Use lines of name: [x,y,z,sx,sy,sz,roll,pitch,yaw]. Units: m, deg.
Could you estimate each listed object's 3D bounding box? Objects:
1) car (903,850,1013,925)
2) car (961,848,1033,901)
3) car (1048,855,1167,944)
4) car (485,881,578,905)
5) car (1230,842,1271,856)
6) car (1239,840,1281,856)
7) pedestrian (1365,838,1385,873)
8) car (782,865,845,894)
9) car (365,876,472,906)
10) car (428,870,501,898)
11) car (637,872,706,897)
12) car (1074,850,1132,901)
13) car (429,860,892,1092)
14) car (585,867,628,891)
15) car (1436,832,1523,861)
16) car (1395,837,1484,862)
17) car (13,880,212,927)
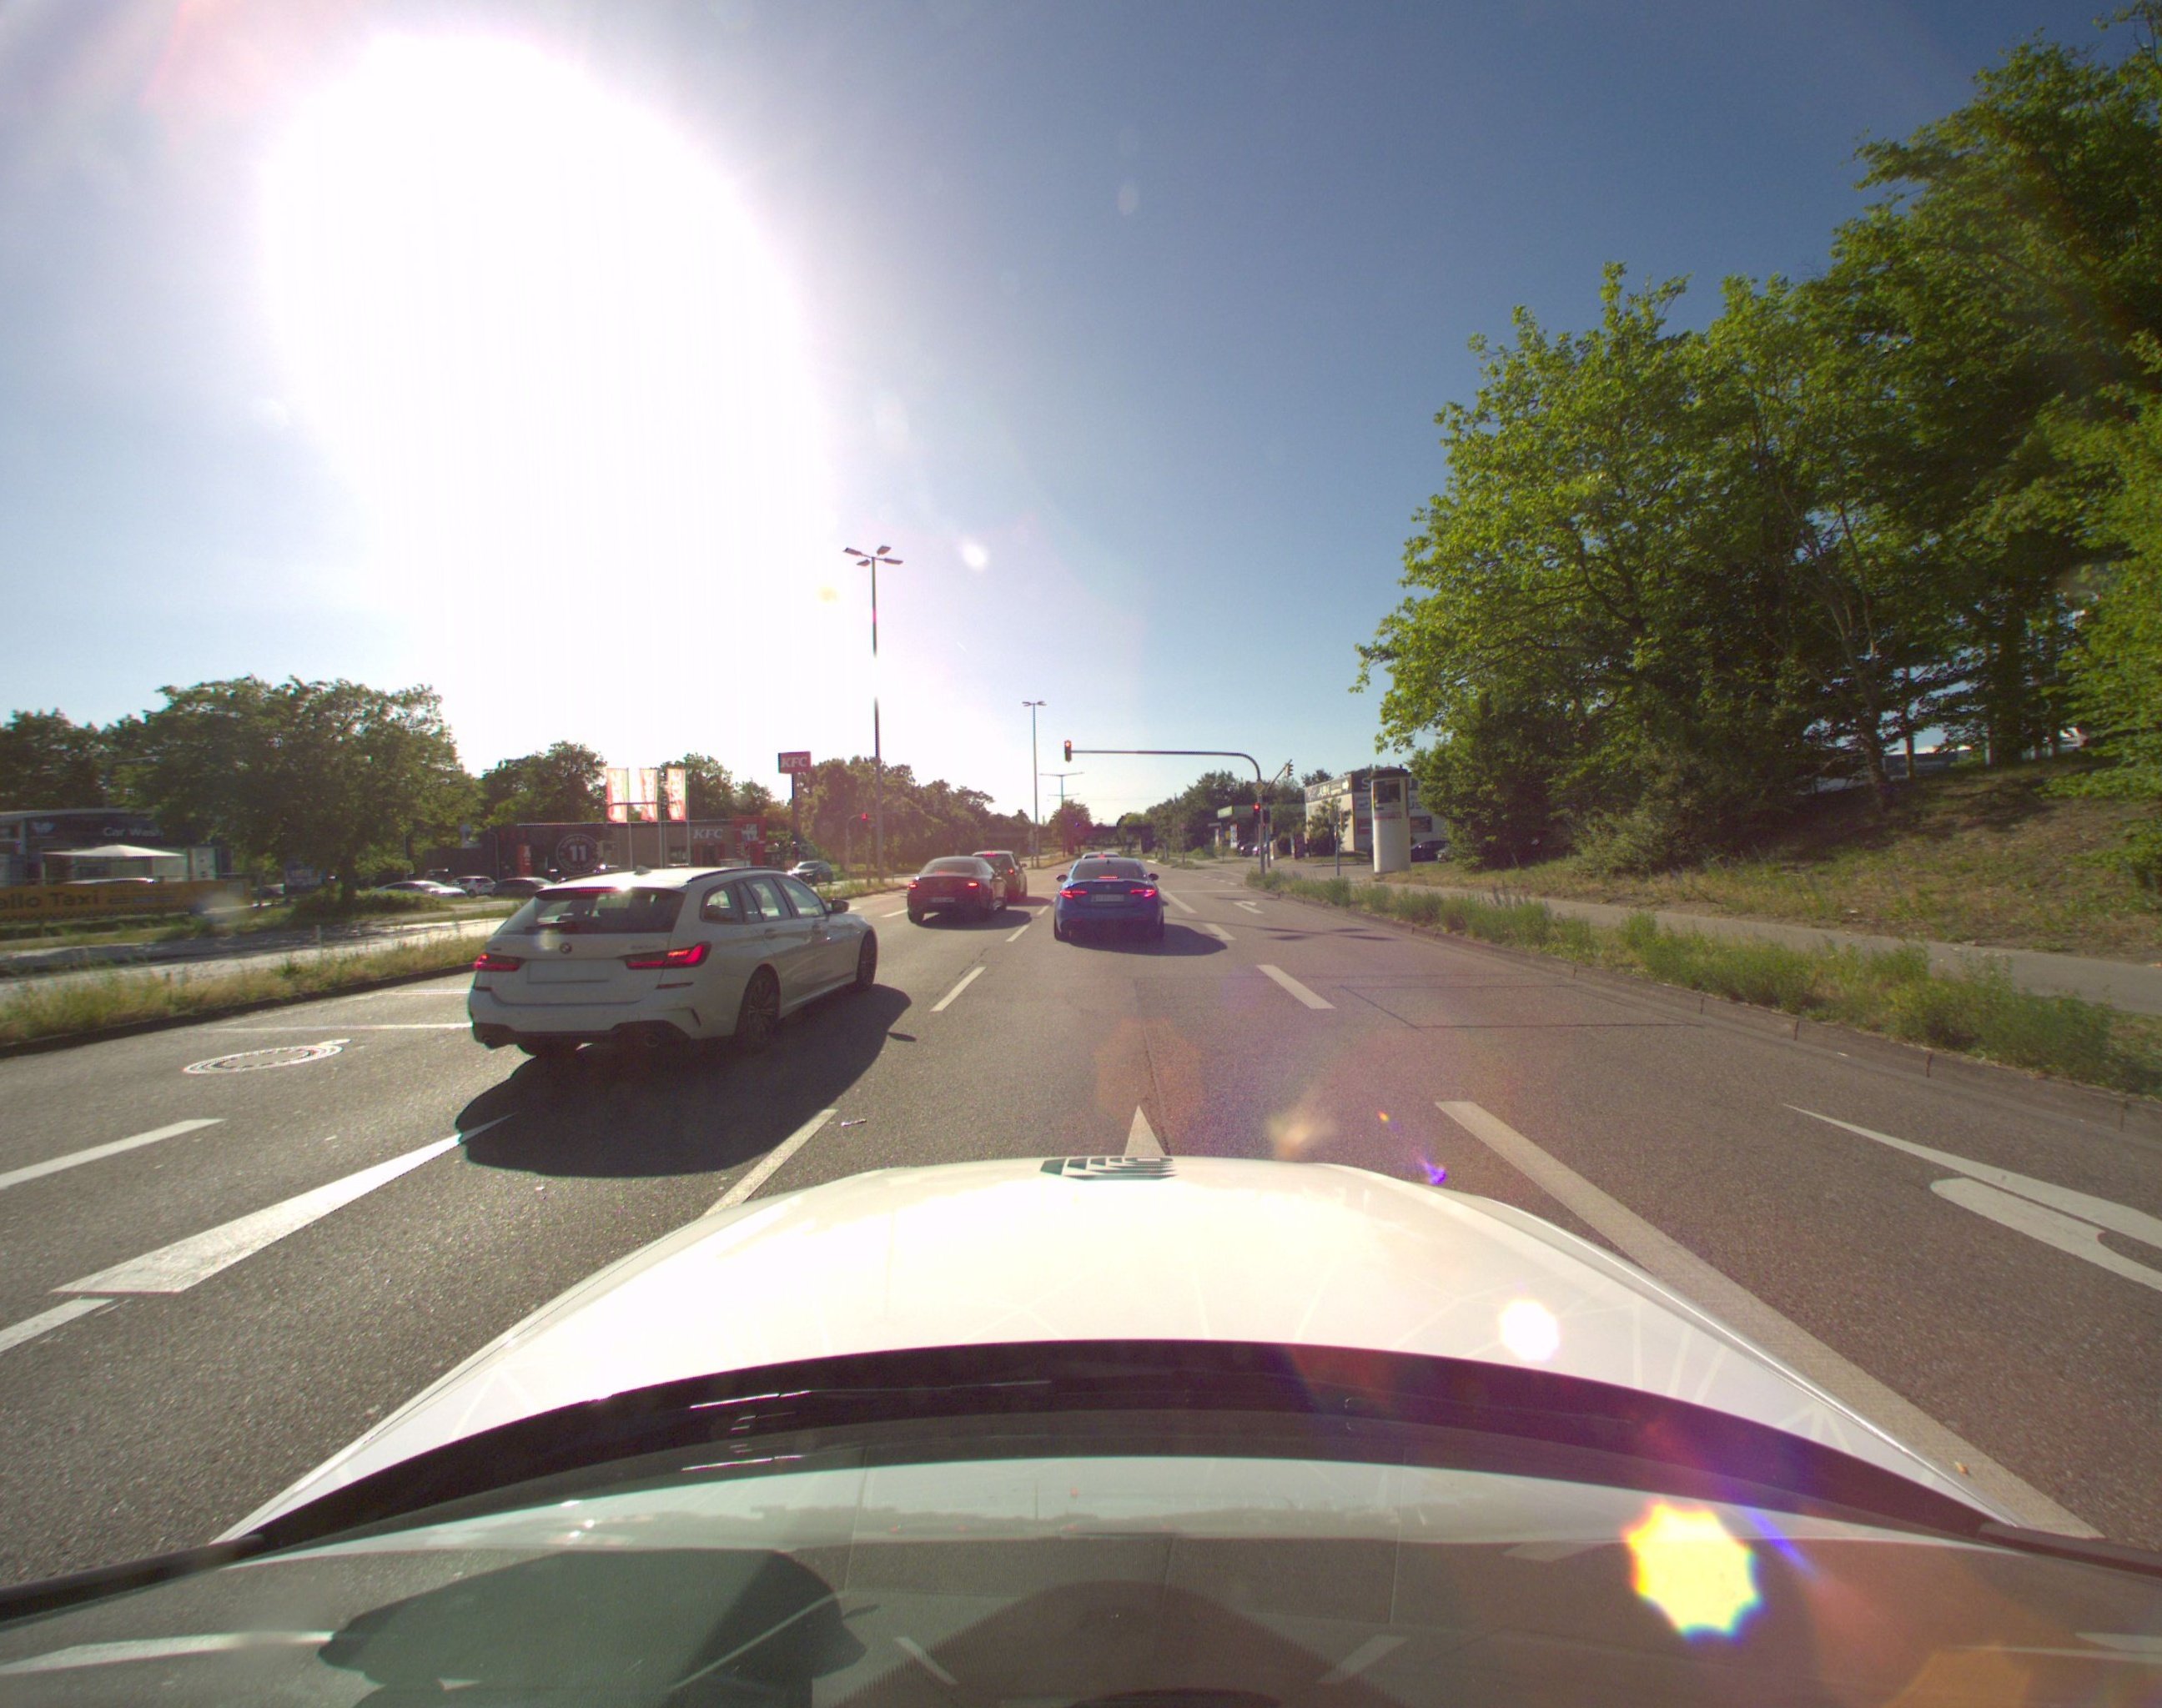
car: [-2.806,0.704,19.517,1.805,1.551,4.545,-1,0,1]
car: [-2.619,0.629,26.332,1.806,1.551,4.353,-1,0,1]
car: [0.549,0.742,14.916,1.901,1.423,3.722,-1,0,4]
car: [-31.700,2.253,47.049,4.070,1.252,1.871,-1,0,0]
car: [19.083,-0.576,91.722,3.994,1.552,1.989,0,0,-16]
car: [18.234,-0.593,83.086,3.970,1.552,2.001,-1,0,3]
pedestrian: [14.548,0.074,40.300,0.814,1.669,0.514,-1,-1,1]
car: [-17.297,1.616,52.838,1.790,1.726,4.338,-1,0,14]
car: [-38.611,2.142,47.561,4.608,1.579,1.936,-1,0,0]
car: [-41.755,2.015,55.193,3.734,1.813,2.007,-1,-1,13]
car: [-27.482,2.036,54.738,3.767,1.559,1.990,0,0,-15]
car: [0.762,0.640,25.829,1.696,1.497,3.722,-1,0,4]
car: [-3.277,0.815,7.604,1.805,1.486,4.598,-1,0,2]
car: [-36.936,1.926,63.312,1.946,1.740,4.046,0,-1,-44]
car: [23.395,-0.431,47.905,4.291,1.650,1.638,-1,-1,1]
car: [22.343,-0.262,50.815,4.803,1.468,1.758,-1,0,0]
car: [-33.877,1.686,28.677,1.981,1.442,4.012,-1,0,11]
